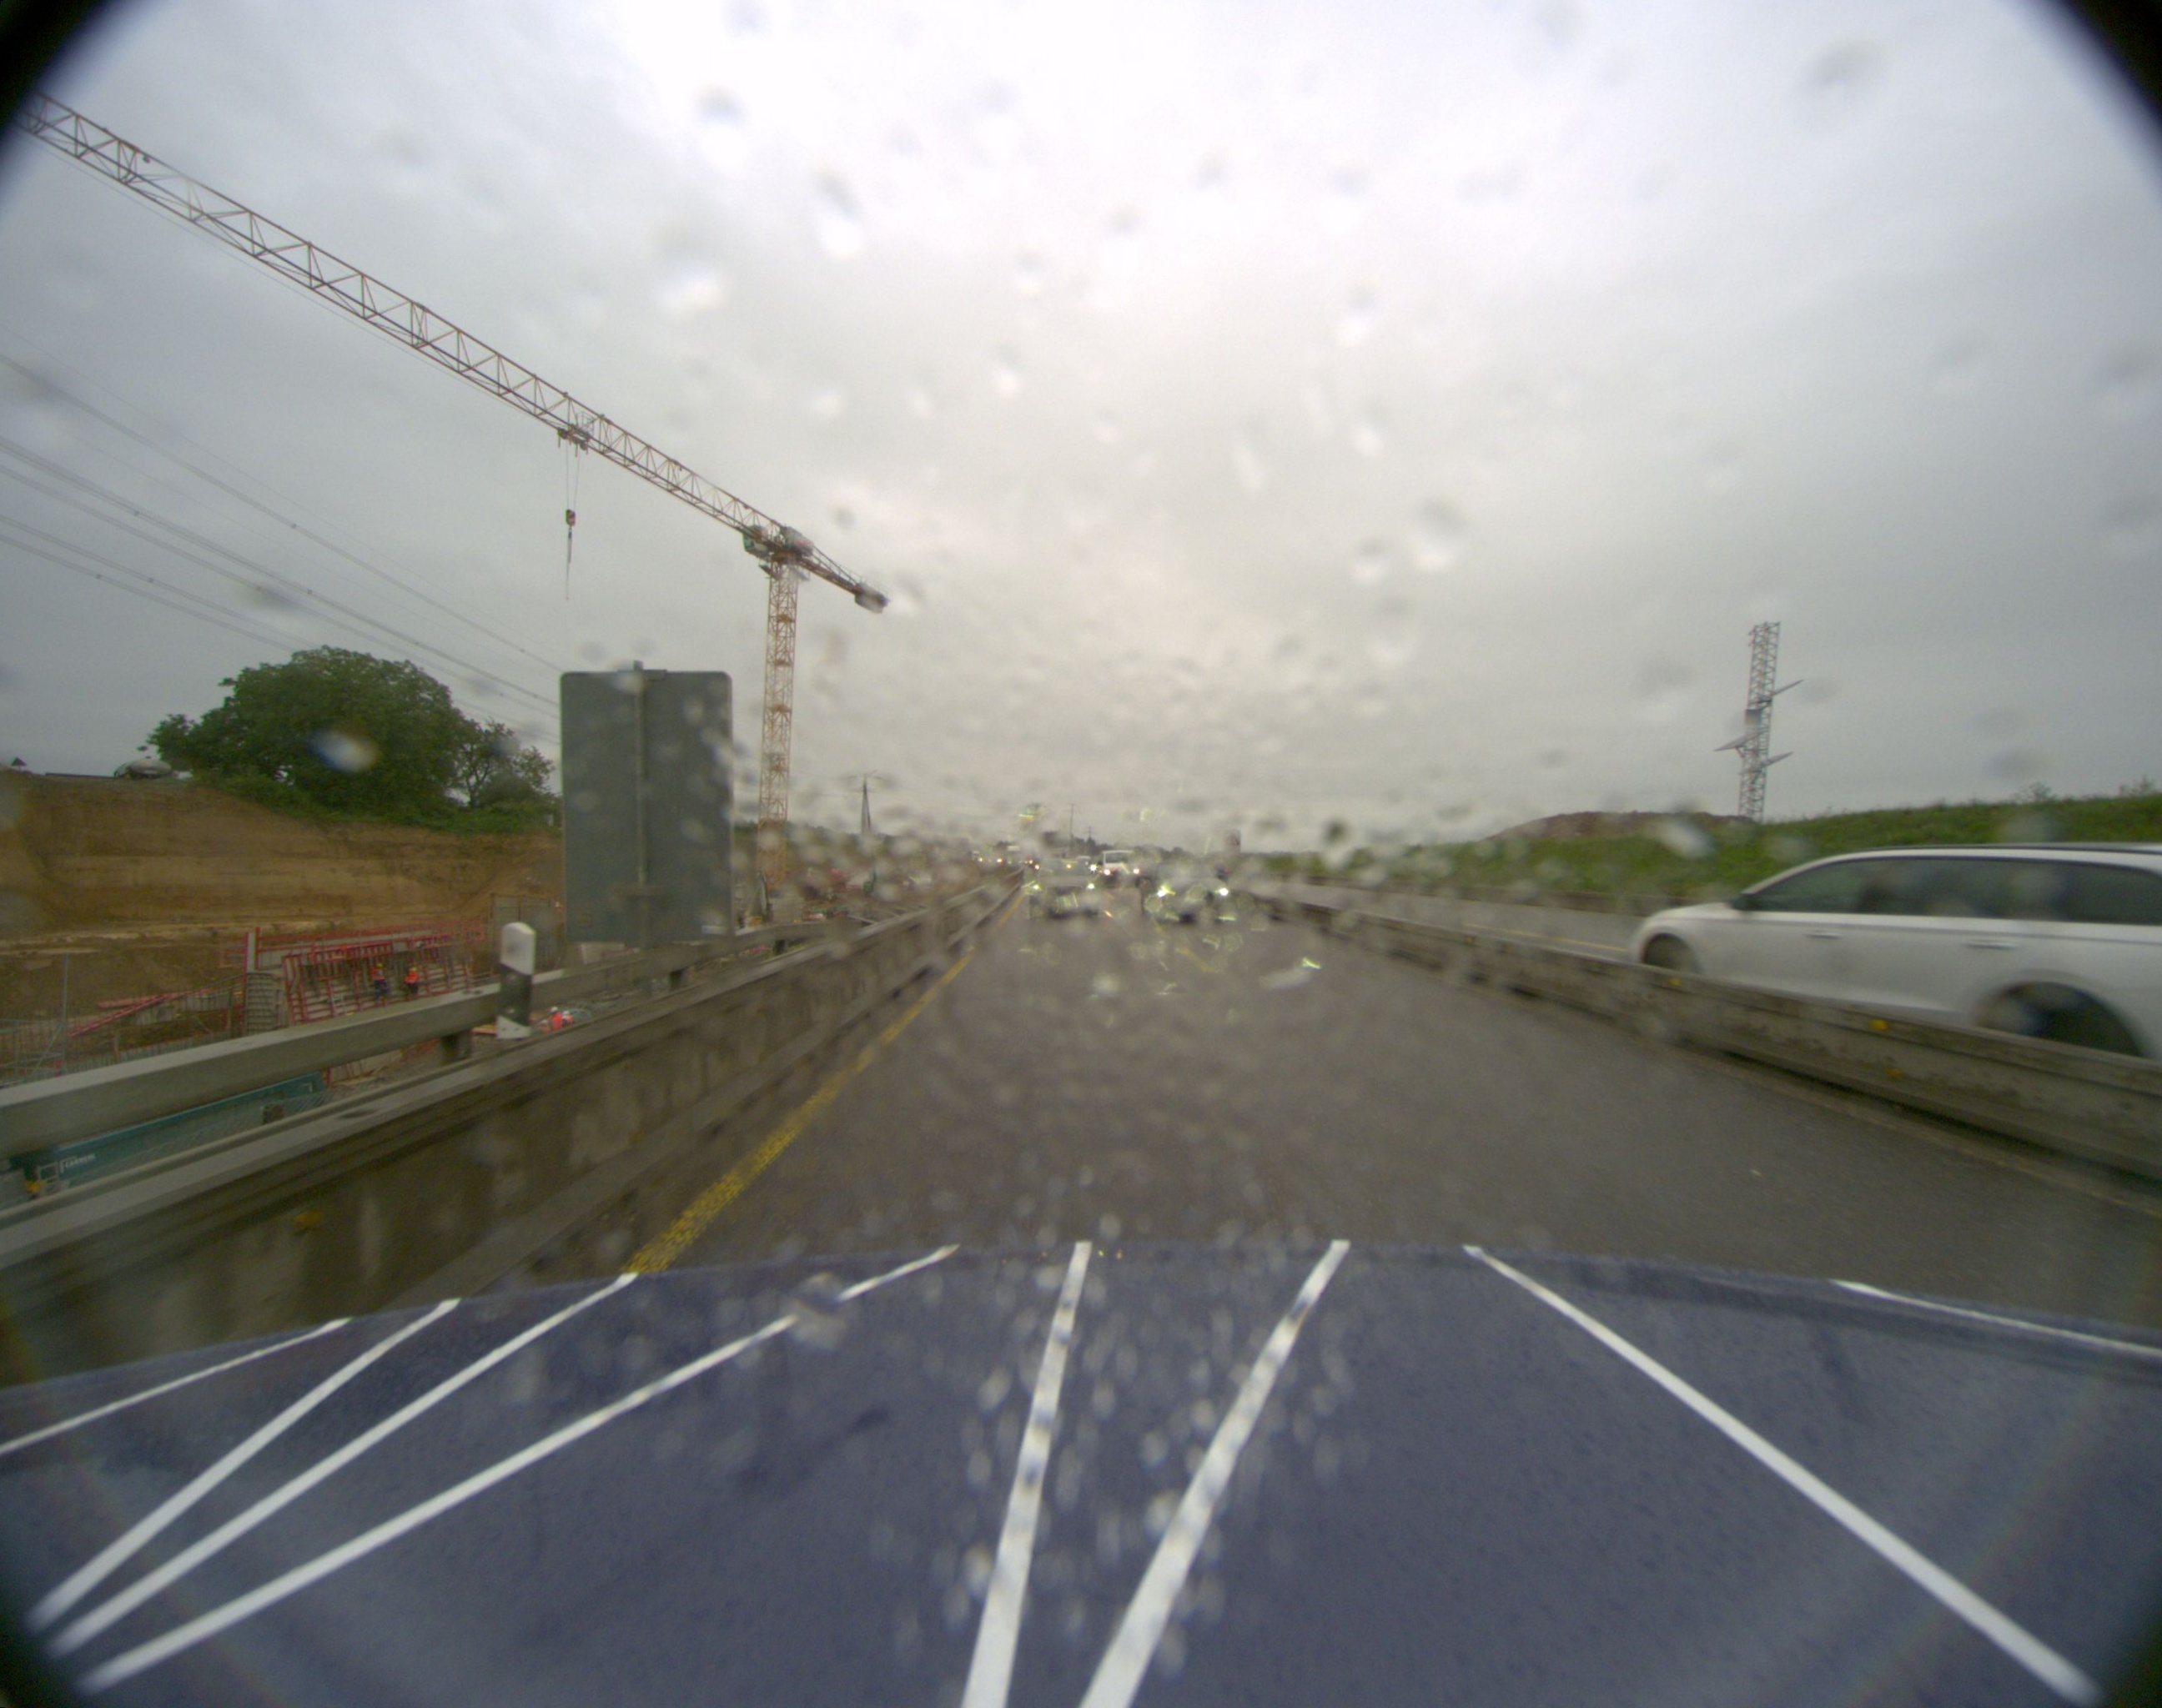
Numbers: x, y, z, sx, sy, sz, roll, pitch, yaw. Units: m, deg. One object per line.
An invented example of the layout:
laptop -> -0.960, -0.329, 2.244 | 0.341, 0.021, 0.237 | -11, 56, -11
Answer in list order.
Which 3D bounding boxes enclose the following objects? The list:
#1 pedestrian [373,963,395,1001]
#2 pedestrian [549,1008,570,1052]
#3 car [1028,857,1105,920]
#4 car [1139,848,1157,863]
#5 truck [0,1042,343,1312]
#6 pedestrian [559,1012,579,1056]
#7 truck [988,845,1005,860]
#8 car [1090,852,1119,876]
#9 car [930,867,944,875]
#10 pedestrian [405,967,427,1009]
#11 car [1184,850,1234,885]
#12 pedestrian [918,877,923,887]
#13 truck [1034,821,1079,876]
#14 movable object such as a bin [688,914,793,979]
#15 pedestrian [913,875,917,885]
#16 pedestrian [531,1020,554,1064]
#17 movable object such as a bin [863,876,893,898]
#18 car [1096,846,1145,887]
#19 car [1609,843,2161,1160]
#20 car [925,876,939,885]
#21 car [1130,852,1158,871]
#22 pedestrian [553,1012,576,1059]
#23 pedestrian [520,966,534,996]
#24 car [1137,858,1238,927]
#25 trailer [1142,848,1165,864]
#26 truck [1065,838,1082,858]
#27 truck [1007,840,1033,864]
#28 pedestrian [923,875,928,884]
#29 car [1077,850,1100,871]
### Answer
pedestrian -> -35.219, 6.475, 38.400 | 0.488, 1.793, 0.583 | -4, 2, 38
pedestrian -> -23.982, 8.096, 34.960 | 0.603, 1.894, 0.481 | 2, 1, -2
car -> -0.452, 0.867, 20.881 | 1.875, 1.481, 4.259 | -1, 0, -2
car -> 6.938, 0.103, 78.468 | 1.362, 1.456, 3.716 | 1, 1, -2
truck -> -23.347, 7.487, 17.957 | 2.709, 3.591, 9.072 | 1, 2, 1
pedestrian -> -23.177, 8.138, 34.415 | 0.603, 1.894, 0.481 | 1, 1, -2
truck -> -21.960, -0.380, 197.706 | 3.546, 3.871, 8.333 | -2, 1, -2
car -> 1.600, 0.655, 52.818 | 1.626, 1.583, 3.999 | -2, 1, -2
car -> -30.963, 3.706, 163.304 | 2.351, 1.609, 4.857 | 0, 1, -3
pedestrian -> -35.059, 7.054, 40.053 | 0.489, 2.087, 0.481 | -6, 2, -2
car -> 5.893, 0.595, 35.352 | 1.653, 1.494, 3.829 | -2, 1, 0
pedestrian -> -28.109, 4.835, 133.111 | 0.614, 1.671, 0.603 | -2, 1, -1
truck -> -1.852, -0.414, 53.528 | 2.857, 3.462, 8.640 | -1, 1, -3
movable object such as a bin -> -23.087, 6.194, 52.018 | 3.515, 3.405, 6.654 | -1, 2, 7
pedestrian -> -29.081, 4.562, 133.089 | 0.614, 1.848, 0.666 | 1, 1, -1
pedestrian -> -23.356, 8.141, 32.976 | 0.603, 1.760, 0.481 | 3, 1, -2
movable object such as a bin -> -30.931, 4.958, 116.035 | 3.501, 2.865, 3.998 | 5, 1, -3
car -> 1.967, 0.570, 39.703 | 2.070, 1.934, 5.154 | -1, 1, -2
car -> 6.114, 0.707, 5.180 | 1.748, 1.494, 4.634 | -2, 0, -1
car -> -27.907, 4.923, 142.364 | 1.860, 1.609, 4.078 | 0, 1, -3
car -> 5.167, 0.586, 62.396 | 1.793, 1.418, 3.707 | -2, 1, -2
pedestrian -> -22.822, 8.014, 33.584 | 0.603, 1.894, 0.614 | 1, 1, -2
pedestrian -> -34.525, 7.909, 47.354 | 0.489, 1.750, 0.481 | 1, 1, -2
car -> 2.446, 0.831, 18.402 | 1.805, 1.375, 4.086 | -1, 1, -1
trailer -> 7.086, 0.192, 74.515 | 1.635, 1.456, 4.159 | 1, 1, -2
truck -> -1.589, -1.293, 161.403 | 3.228, 4.072, 9.199 | -2, 1, -2
truck -> -11.947, -0.439, 146.808 | 4.320, 4.319, 13.398 | -2, 1, -7
pedestrian -> -28.031, 4.563, 137.017 | 0.614, 1.671, 0.603 | -2, 1, -1
car -> 0.640, 0.548, 68.485 | 1.790, 1.744, 3.999 | -2, 1, -2
